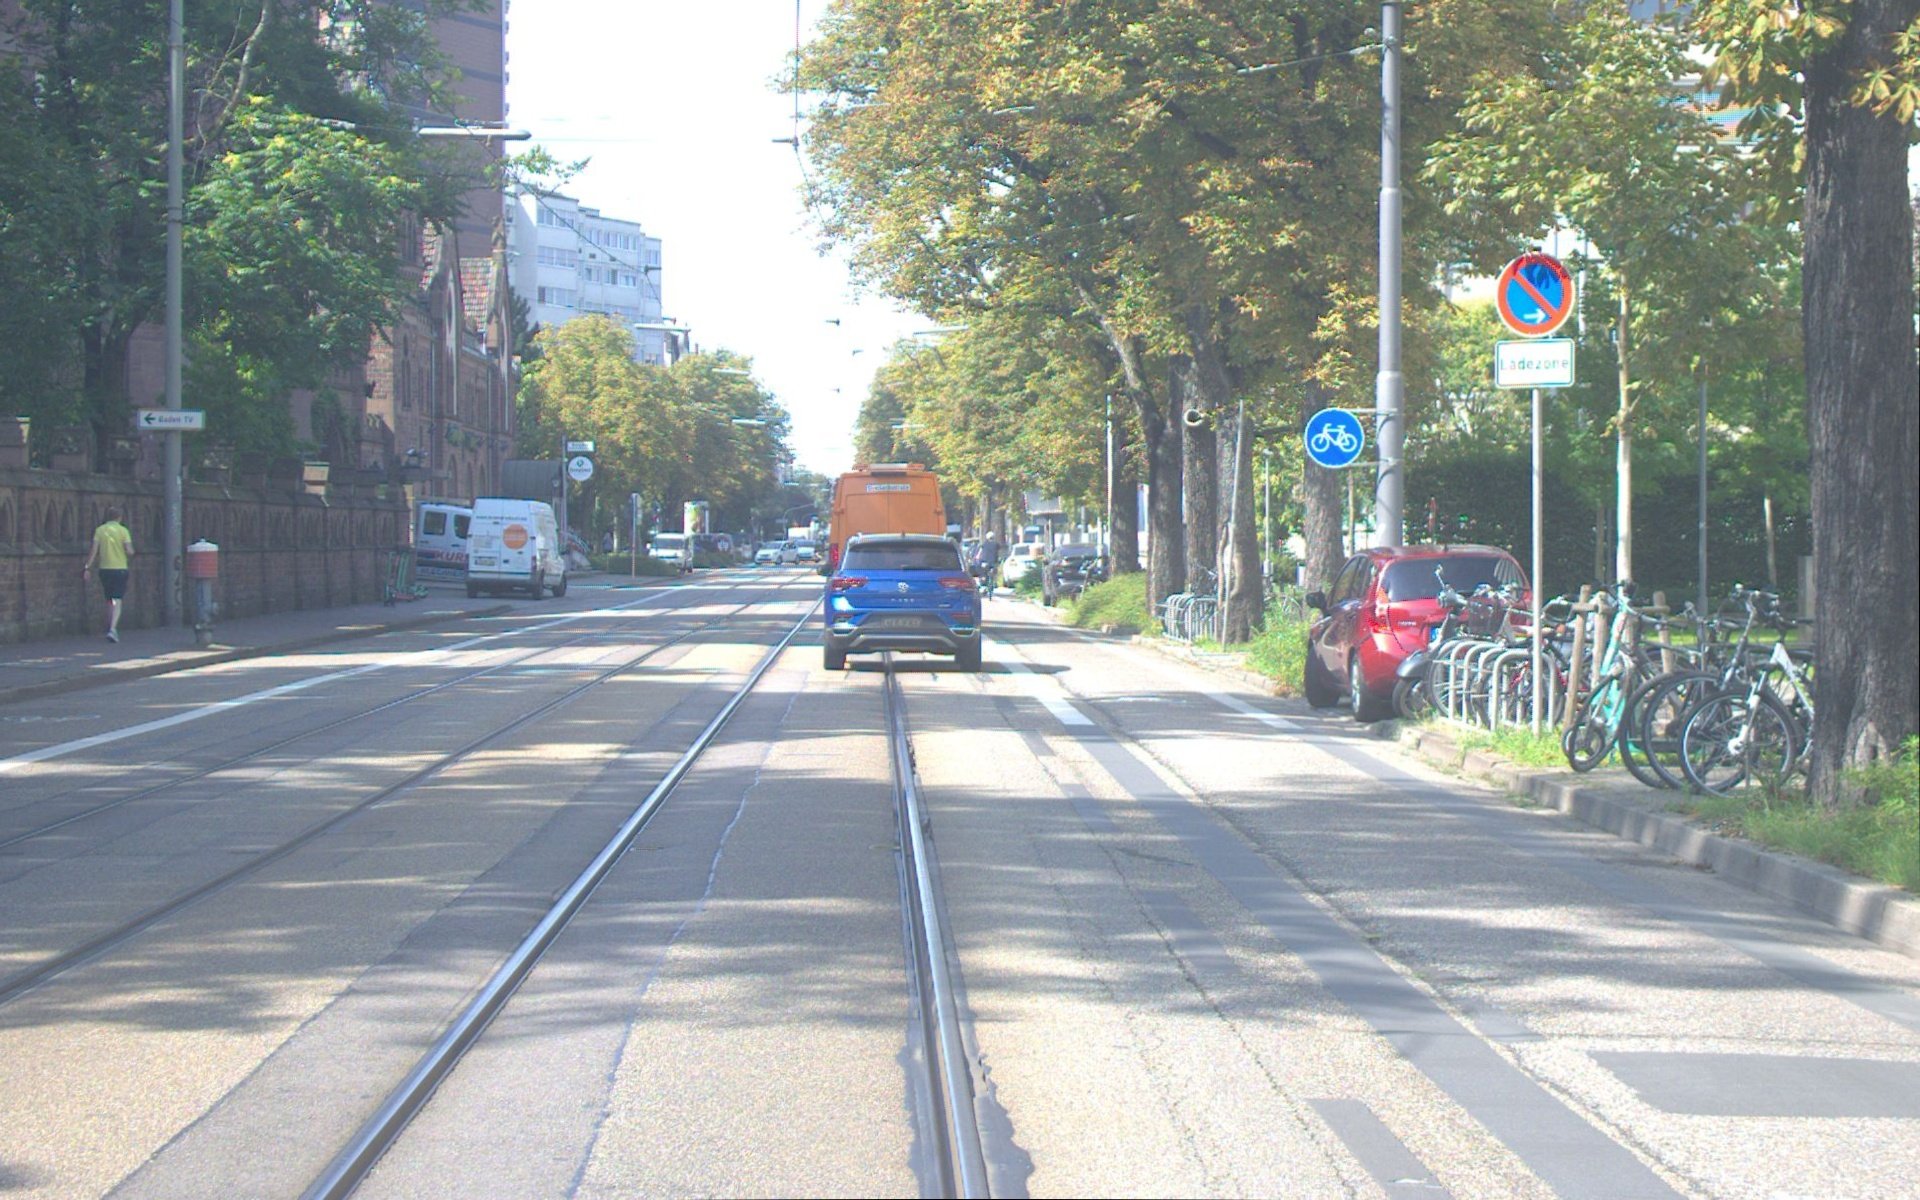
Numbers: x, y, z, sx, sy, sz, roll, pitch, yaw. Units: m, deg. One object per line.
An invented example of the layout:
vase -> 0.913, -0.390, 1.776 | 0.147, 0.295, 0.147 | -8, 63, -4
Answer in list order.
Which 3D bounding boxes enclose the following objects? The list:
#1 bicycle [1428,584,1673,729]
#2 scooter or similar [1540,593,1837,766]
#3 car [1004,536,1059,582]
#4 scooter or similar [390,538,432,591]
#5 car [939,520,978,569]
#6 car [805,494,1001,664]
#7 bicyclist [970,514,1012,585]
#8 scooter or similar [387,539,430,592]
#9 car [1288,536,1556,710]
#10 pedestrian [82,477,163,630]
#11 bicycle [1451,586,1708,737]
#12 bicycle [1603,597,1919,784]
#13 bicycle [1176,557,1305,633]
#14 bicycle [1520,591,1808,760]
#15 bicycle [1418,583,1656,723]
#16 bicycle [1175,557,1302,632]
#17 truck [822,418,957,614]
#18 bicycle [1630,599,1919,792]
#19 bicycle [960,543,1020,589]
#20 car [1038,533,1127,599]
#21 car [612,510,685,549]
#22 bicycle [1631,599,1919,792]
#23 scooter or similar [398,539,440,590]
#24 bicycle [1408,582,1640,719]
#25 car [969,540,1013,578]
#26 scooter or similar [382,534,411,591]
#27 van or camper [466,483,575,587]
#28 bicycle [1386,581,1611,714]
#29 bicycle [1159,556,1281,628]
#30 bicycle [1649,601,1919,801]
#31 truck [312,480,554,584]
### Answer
bicycle -> 4.507, 0.427, 26.296 | 1.771, 1.068, 0.541 | -1, 1, -2
scooter or similar -> 4.658, 0.501, 22.026 | 1.771, 1.068, 0.541 | -1, 1, -2
car -> 2.345, -1.350, 113.967 | 1.659, 1.476, 4.217 | 0, 1, -1
scooter or similar -> -12.355, -0.793, 77.438 | 0.340, 1.174, 1.176 | 1, 1, 24
car -> -0.121, -3.183, 198.168 | 1.993, 2.746, 5.762 | 1, 1, -2
car -> -0.680, -0.273, 40.405 | 2.135, 1.852, 5.568 | 0, 1, -1
bicyclist -> 0.787, -1.306, 88.241 | 1.031, 1.806, 1.016 | 1, 1, -1
scooter or similar -> -12.237, -0.772, 76.267 | 0.340, 1.174, 1.176 | 1, 1, 24
car -> 4.119, 0.153, 31.242 | 1.755, 1.457, 4.275 | 0, 1, -1
pedestrian -> -11.150, -0.623, 45.783 | 0.864, 2.007, 0.984 | 1, 1, -3
bicycle -> 4.535, 0.446, 25.194 | 1.771, 1.068, 0.541 | -1, 1, -2
bicycle -> 4.756, 0.530, 20.395 | 1.771, 1.068, 0.541 | -1, 1, -2
bicycle -> 3.979, -0.070, 48.813 | 1.771, 1.046, 0.541 | -1, 1, -2
bicycle -> 4.623, 0.491, 22.613 | 1.771, 1.068, 0.541 | -1, 1, -2
bicycle -> 4.538, 0.413, 27.108 | 1.771, 1.068, 0.541 | -1, 1, -2
bicycle -> 4.006, -0.081, 49.491 | 1.771, 1.046, 0.541 | -1, 1, -2
truck -> -1.187, -1.383, 57.756 | 2.135, 3.113, 6.085 | 0, 1, -1
bicycle -> 4.803, 0.541, 19.795 | 1.771, 1.068, 0.541 | -1, 1, -2
bicycle -> 0.746, -0.886, 88.248 | 1.401, 1.130, 4.000 | 0, 1, -1
car -> 2.928, -0.837, 83.092 | 1.755, 1.510, 4.610 | -1, 1, -3
car -> -14.639, -3.308, 161.492 | 1.747, 1.790, 4.000 | 0, 1, -33
bicycle -> 4.813, 0.540, 19.817 | 1.771, 1.068, 0.541 | -1, 1, -2
scooter or similar -> -12.367, -0.812, 78.572 | 0.340, 1.174, 1.176 | 1, 1, 24
bicycle -> 4.548, 0.402, 27.783 | 1.771, 1.068, 0.541 | -1, 1, -2
car -> 1.280, -1.713, 143.887 | 1.743, 1.550, 4.217 | 0, 1, -1
scooter or similar -> -11.800, -0.783, 71.971 | 0.420, 1.174, 1.317 | 0, 1, -17
van or camper -> -11.729, -1.726, 92.133 | 2.113, 2.666, 5.955 | 1, 1, 0
bicycle -> 4.468, 0.388, 28.556 | 1.771, 1.068, 0.541 | -1, 1, -2
bicycle -> 3.926, -0.124, 51.970 | 1.771, 1.046, 0.541 | -1, 1, -2
bicycle -> 4.773, 0.552, 19.098 | 1.771, 1.068, 0.541 | -1, 1, -2
truck -> -14.827, -1.937, 96.928 | 6.321, 2.529, 2.131 | 4, 2, 4
